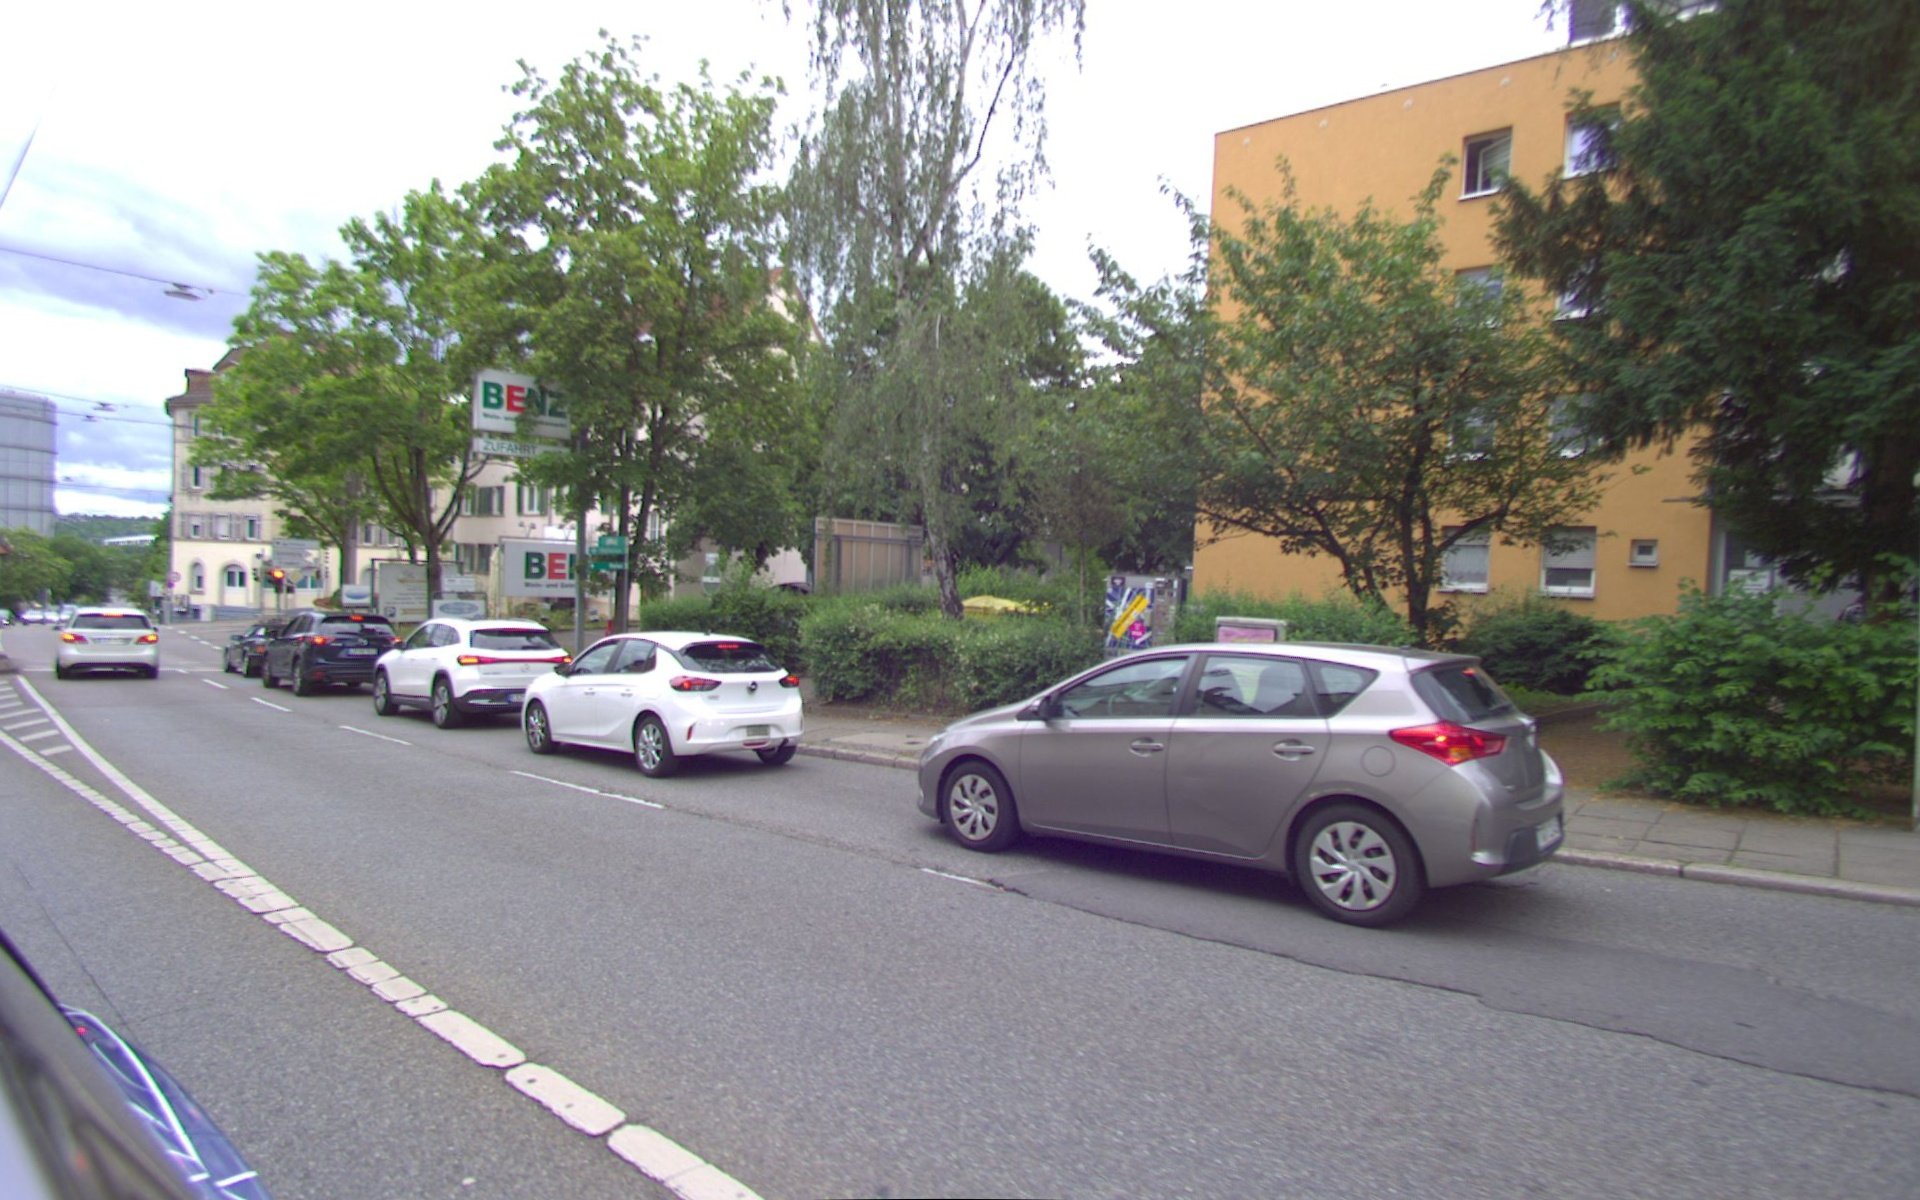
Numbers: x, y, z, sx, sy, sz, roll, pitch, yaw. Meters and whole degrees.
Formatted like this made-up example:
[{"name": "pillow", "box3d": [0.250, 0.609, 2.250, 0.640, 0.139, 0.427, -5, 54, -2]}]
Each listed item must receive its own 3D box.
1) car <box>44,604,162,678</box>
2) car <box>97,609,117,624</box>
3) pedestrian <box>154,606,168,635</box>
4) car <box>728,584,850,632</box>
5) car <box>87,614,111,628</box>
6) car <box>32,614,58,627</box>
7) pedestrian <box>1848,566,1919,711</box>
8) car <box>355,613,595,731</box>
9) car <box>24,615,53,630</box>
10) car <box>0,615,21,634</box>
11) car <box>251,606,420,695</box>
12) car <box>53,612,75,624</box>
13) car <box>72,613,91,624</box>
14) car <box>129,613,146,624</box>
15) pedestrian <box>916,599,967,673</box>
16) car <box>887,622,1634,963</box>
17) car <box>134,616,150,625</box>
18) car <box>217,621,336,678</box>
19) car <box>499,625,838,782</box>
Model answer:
[{"name": "car", "box3d": [-19.974, 0.924, 23.523, 1.755, 1.558, 4.328, 4, -3, -44]}, {"name": "car", "box3d": [-114.452, 2.270, 135.855, 1.841, 1.898, 4.293, 4, -3, -39]}, {"name": "pedestrian", "box3d": [-56.085, 1.447, 71.042, 0.735, 1.951, 0.905, -3, 1, -38]}, {"name": "car", "box3d": [-6.904, 0.304, 40.657, 4.900, 1.817, 2.041, -1, 0, 37]}, {"name": "car", "box3d": [-97.828, 2.406, 115.005, 1.731, 1.458, 3.760, 0, 0, -36]}, {"name": "car", "box3d": [-115.181, 2.571, 127.434, 1.967, 1.612, 4.009, -1, 0, -36]}, {"name": "pedestrian", "box3d": [11.903, 0.488, 12.823, 0.714, 1.768, 0.794, 1, -5, -44]}, {"name": "car", "box3d": [-7.779, 1.044, 16.024, 4.499, 1.606, 1.929, -1, -3, 44]}, {"name": "car", "box3d": [-104.297, 2.518, 114.604, 1.967, 1.612, 4.009, -1, 0, -36]}, {"name": "car", "box3d": [-87.882, 2.210, 92.635, 1.966, 1.642, 4.422, -1, 0, -32]}, {"name": "car", "box3d": [-13.076, 1.001, 21.065, 4.415, 1.655, 1.929, -1, -4, 44]}, {"name": "car", "box3d": [-126.697, 2.558, 143.095, 1.967, 1.612, 4.009, -1, 0, -36]}, {"name": "car", "box3d": [-139.880, 2.977, 161.157, 1.967, 1.612, 4.009, -1, 0, -36]}, {"name": "car", "box3d": [-135.101, 3.043, 166.330, 1.967, 1.612, 4.009, -1, 0, -36]}, {"name": "pedestrian", "box3d": [-0.404, 0.769, 22.089, 0.790, 1.572, 0.783, -1, -1, 38]}, {"name": "car", "box3d": [1.688, 0.910, 6.597, 4.309, 1.459, 1.819, 0, -2, 42]}, {"name": "car", "box3d": [-141.734, 3.543, 175.450, 1.967, 1.612, 4.009, -1, 0, -36]}, {"name": "car", "box3d": [-17.473, 1.233, 25.784, 1.780, 1.291, 4.240, 4, -3, -44]}, {"name": "car", "box3d": [-3.420, 1.044, 11.498, 4.073, 1.423, 1.819, -1, -3, 43]}]
